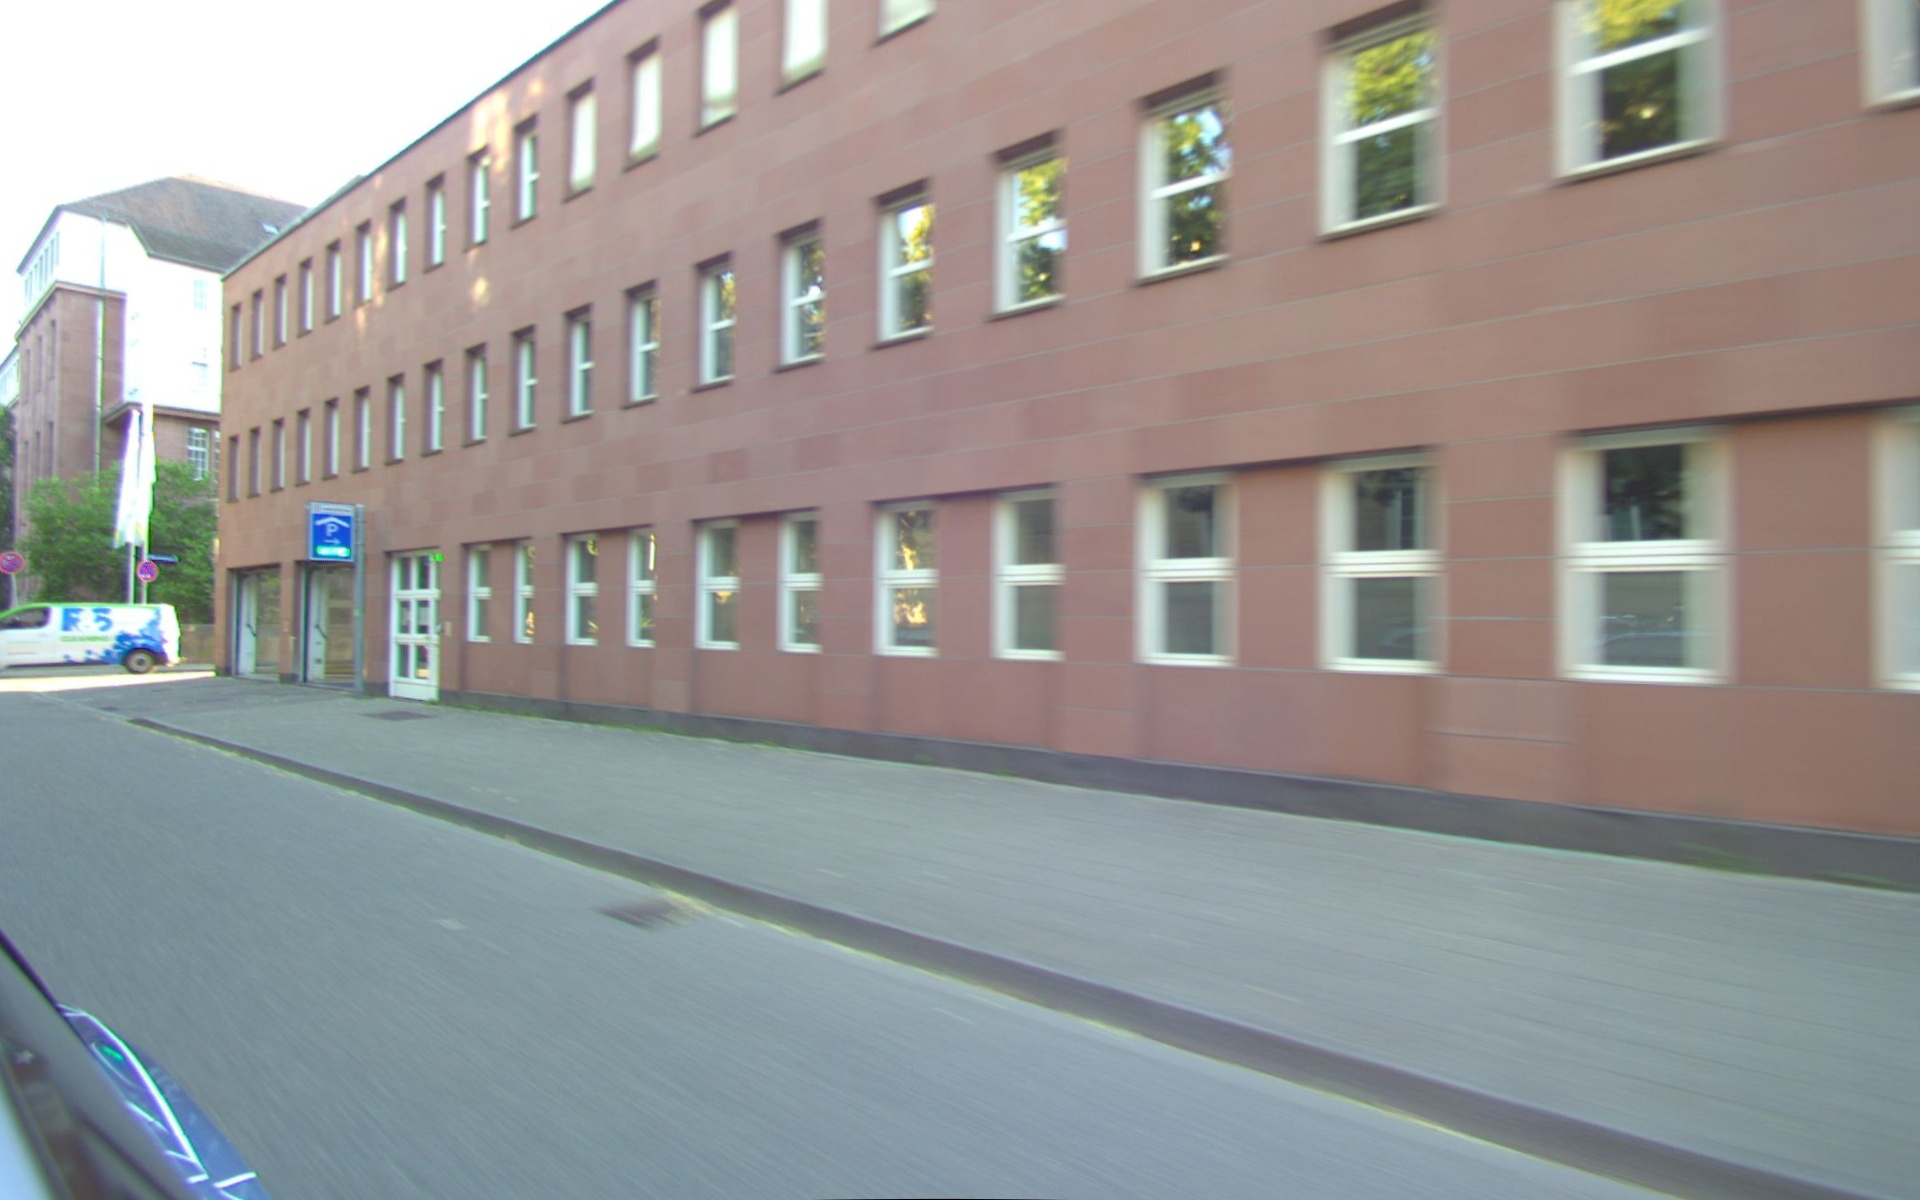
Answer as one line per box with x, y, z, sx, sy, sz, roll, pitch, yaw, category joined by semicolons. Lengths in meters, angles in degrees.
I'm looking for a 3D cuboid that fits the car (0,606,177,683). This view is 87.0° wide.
-23.388;1.143;26.092;5.026;1.889;2.004;1;-3;-38;car
